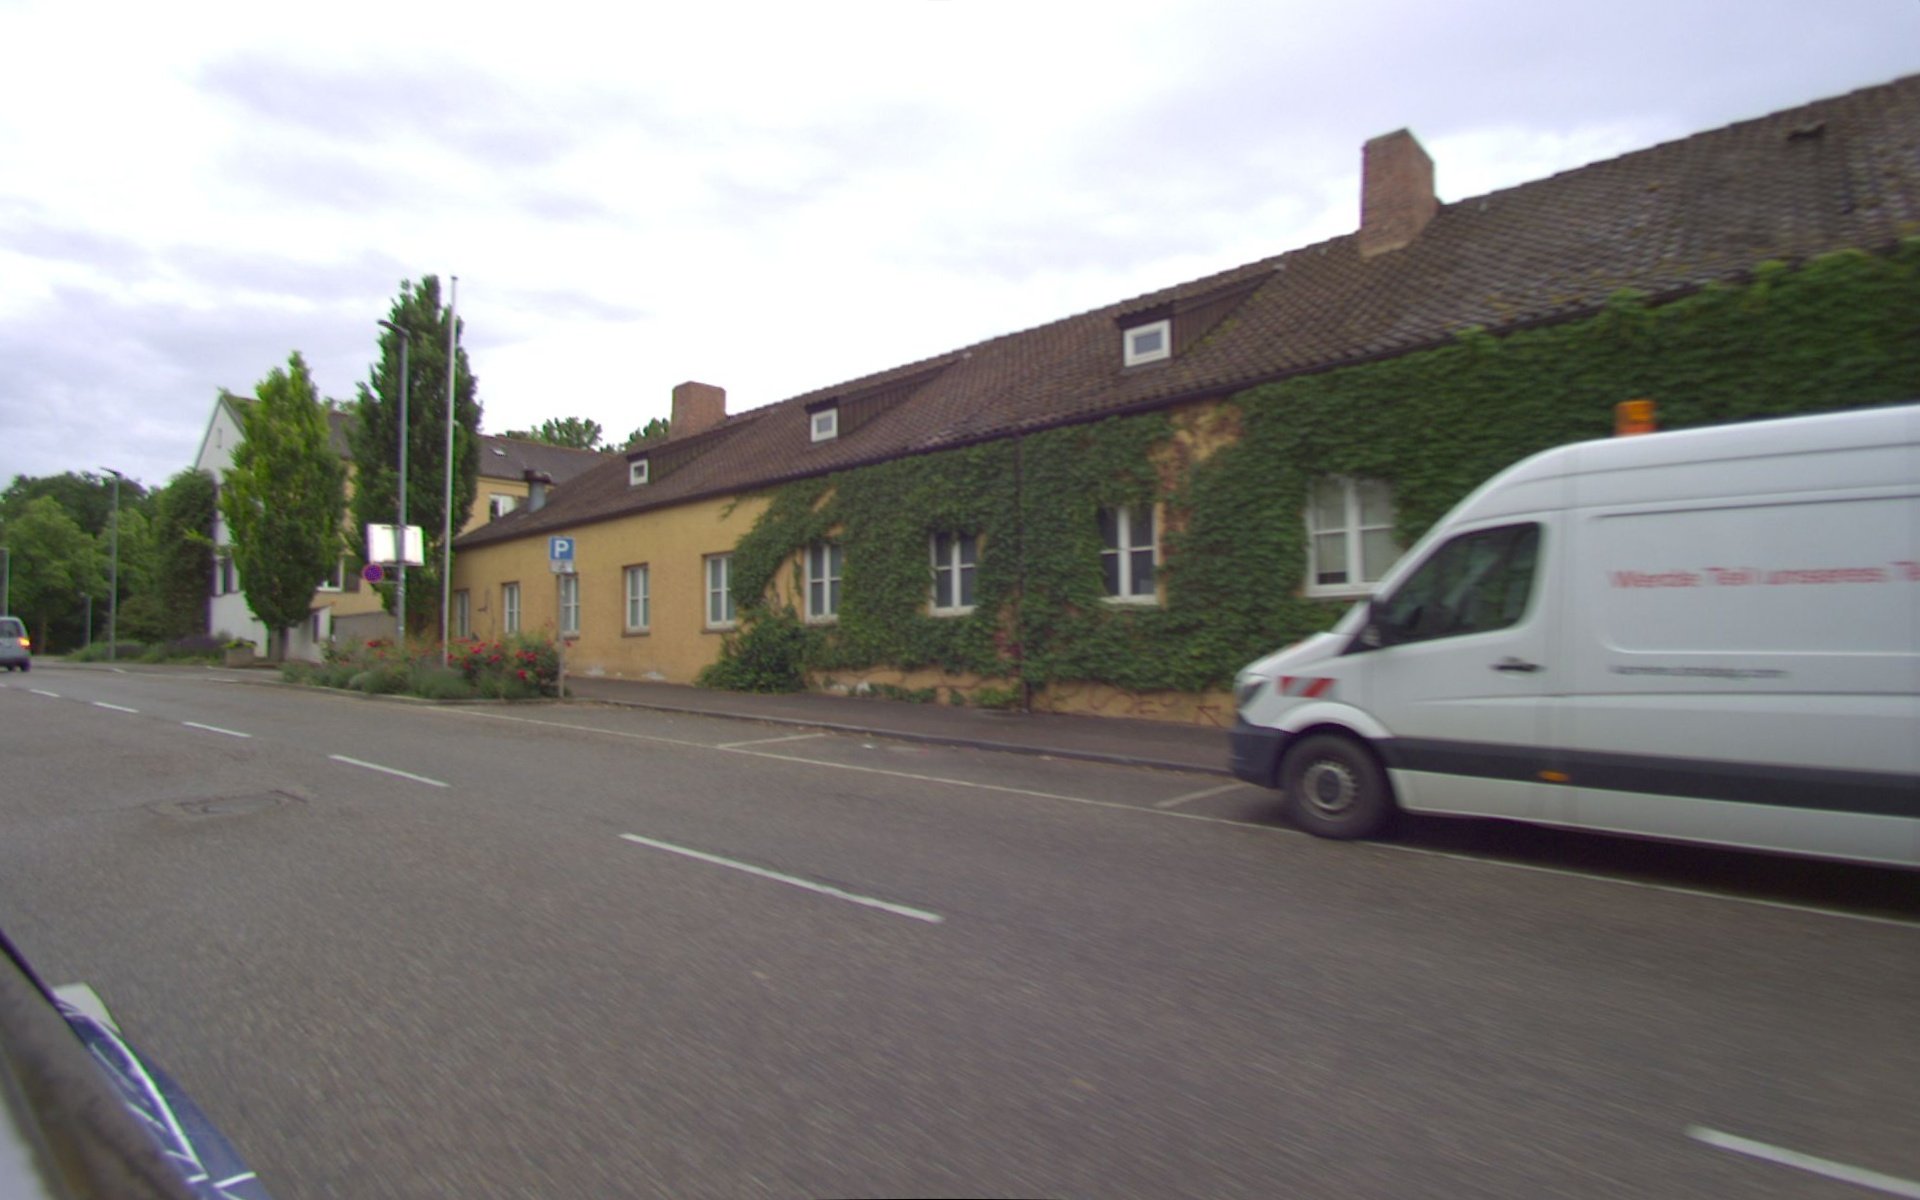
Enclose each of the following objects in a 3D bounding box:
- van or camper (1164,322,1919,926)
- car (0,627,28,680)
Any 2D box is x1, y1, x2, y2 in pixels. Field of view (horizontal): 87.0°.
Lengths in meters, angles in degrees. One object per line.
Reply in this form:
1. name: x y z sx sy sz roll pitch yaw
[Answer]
1. van or camper: 4.535 0.149 6.135 6.141 2.786 2.315 -2 -2 42
2. car: -32.849 1.768 33.838 4.505 1.718 1.876 -1 -2 40
